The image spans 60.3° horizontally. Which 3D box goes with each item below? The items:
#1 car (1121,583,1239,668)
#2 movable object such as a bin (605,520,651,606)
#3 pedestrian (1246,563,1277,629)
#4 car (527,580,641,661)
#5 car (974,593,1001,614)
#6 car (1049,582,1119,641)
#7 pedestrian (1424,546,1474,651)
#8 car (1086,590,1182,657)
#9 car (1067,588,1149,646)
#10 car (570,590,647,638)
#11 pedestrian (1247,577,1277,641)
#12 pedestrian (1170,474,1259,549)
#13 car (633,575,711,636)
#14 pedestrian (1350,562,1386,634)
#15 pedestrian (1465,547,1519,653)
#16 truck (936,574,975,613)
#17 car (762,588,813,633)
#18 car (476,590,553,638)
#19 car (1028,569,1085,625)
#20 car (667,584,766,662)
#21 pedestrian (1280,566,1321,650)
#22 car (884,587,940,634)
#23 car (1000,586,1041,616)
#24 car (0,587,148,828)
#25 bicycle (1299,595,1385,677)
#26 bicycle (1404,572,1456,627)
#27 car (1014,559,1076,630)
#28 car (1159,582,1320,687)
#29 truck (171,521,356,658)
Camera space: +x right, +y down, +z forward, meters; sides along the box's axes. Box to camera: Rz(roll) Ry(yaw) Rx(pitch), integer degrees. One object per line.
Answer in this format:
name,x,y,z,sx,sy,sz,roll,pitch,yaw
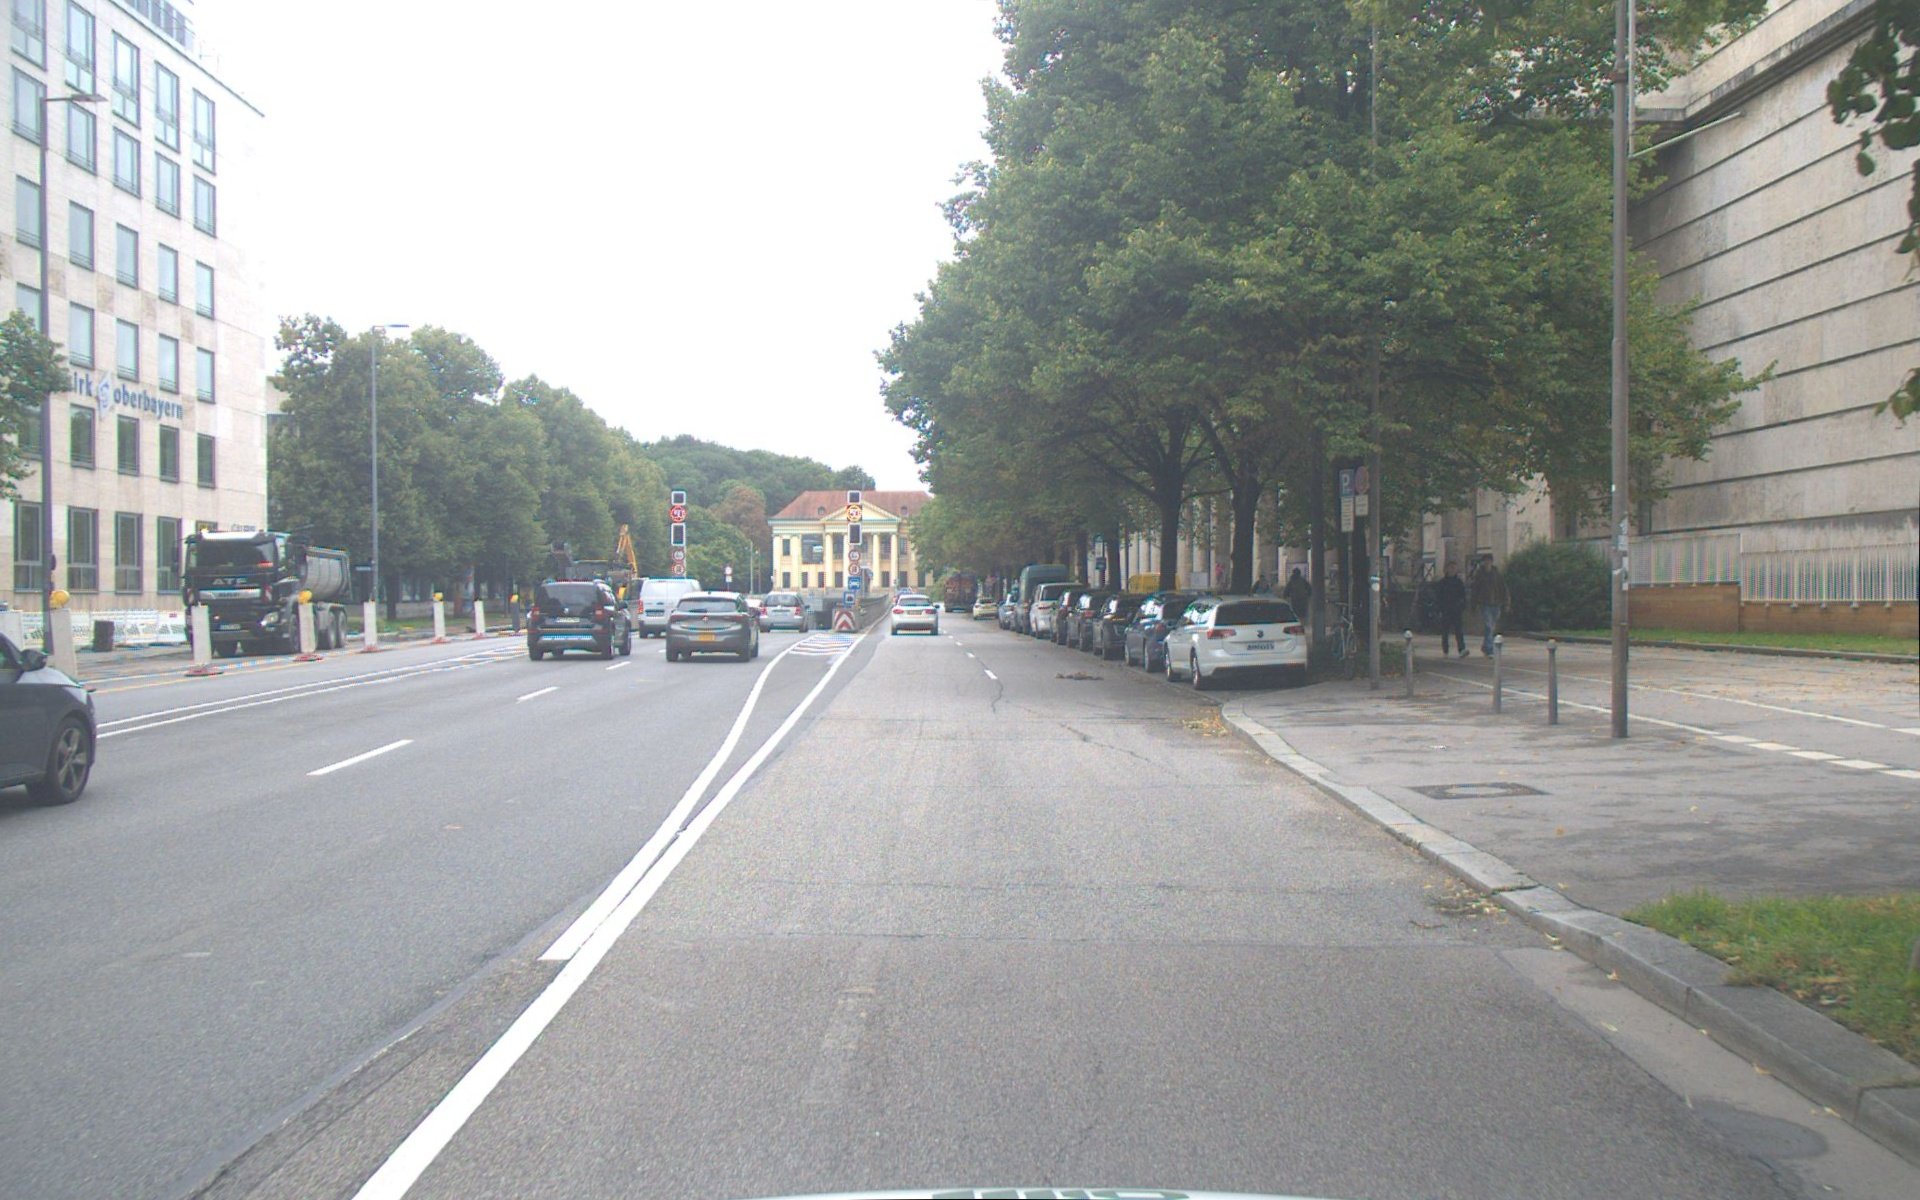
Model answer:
car,4.394,0.474,33.651,1.689,1.577,4.584,-1,0,-1
movable object such as a bin,-26.443,-2.908,131.899,2.645,6.624,5.174,1,0,-2
pedestrian,9.070,-0.116,49.743,0.763,1.943,0.770,1,0,-1
car,-8.223,0.419,36.504,1.688,1.665,4.203,-1,0,-2
car,1.835,0.213,112.418,1.689,1.347,4.027,-1,0,-1
car,3.757,0.326,50.823,1.689,1.694,4.588,-1,0,-1
pedestrian,9.191,-0.034,31.123,0.685,1.943,0.770,1,0,-1
car,4.111,0.515,39.693,1.689,1.490,4.775,-1,0,-1
car,4.004,0.439,45.154,1.786,1.490,4.027,-1,0,-1
car,-12.627,0.471,59.607,1.953,1.624,3.999,-1,0,-1
pedestrian,9.274,0.260,50.802,0.763,1.943,0.770,1,0,-1
pedestrian,7.608,-2.610,49.761,1.953,2.049,3.999,1,0,-2
car,-9.418,0.163,54.364,1.860,1.880,4.953,-1,0,-2
pedestrian,11.254,-0.060,45.644,0.763,1.943,0.770,1,0,-1
pedestrian,9.943,-0.007,30.934,0.748,1.943,0.770,1,0,-1
truck,-0.468,-0.600,149.506,3.258,3.426,8.659,1,0,-2
car,-6.800,0.389,65.402,1.743,1.683,3.998,1,0,-2
car,-15.982,0.464,59.479,1.955,1.624,3.996,-1,0,-5
car,3.397,-0.110,58.913,1.689,1.900,4.027,-1,0,-1
car,-5.254,0.460,36.064,1.676,1.579,3.999,1,0,-2
pedestrian,8.019,0.187,38.990,0.763,1.943,0.770,1,0,-1
car,-1.845,0.373,62.398,1.745,1.673,3.994,1,0,-7
car,2.823,0.033,77.462,1.689,1.347,4.027,-1,0,-1
car,-6.744,0.669,9.940,1.757,1.473,4.273,-1,0,-2
bicycle,6.127,0.547,26.659,0.616,1.252,2.616,1,0,-4
bicycle,12.788,-0.026,45.044,0.685,1.440,2.298,-1,0,-2
car,3.338,-0.230,65.766,1.954,2.689,4.875,1,0,-3
car,4.580,0.515,27.756,1.790,1.577,4.750,-1,0,-1
truck,-19.062,-0.285,45.870,2.789,3.415,8.744,1,0,-10
